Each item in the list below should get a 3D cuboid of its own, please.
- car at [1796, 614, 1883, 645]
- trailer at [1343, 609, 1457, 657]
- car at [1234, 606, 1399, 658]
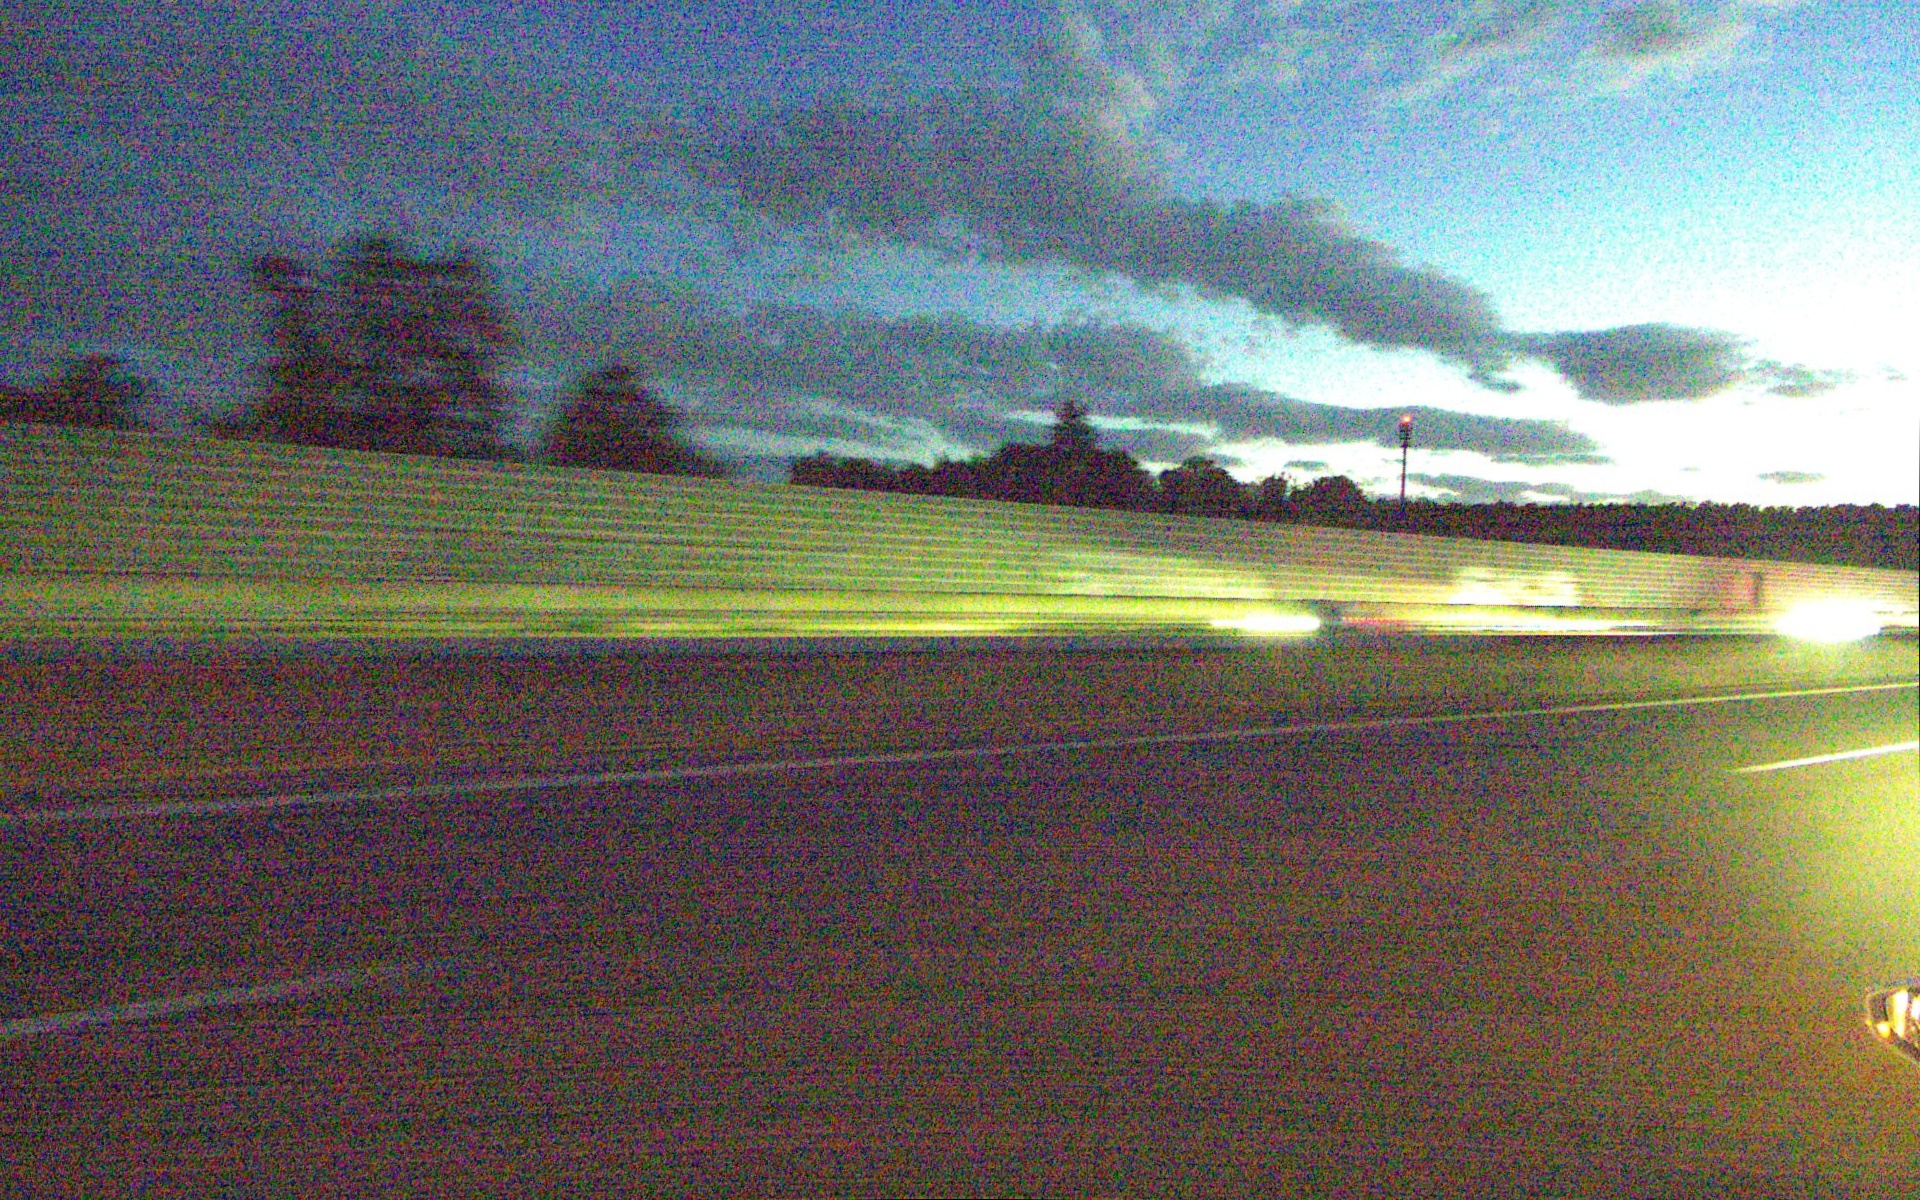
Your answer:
[{"bbox_3d":[47.613,1.598,54.346,5.050,1.576,2.108,1,0,-31],"label":"car"},{"bbox_3d":[15.062,1.106,34.435,3.092,1.501,2.173,1,1,-31],"label":"trailer"},{"bbox_3d":[11.497,1.000,32.301,5.181,1.501,2.173,1,1,-31],"label":"car"}]
